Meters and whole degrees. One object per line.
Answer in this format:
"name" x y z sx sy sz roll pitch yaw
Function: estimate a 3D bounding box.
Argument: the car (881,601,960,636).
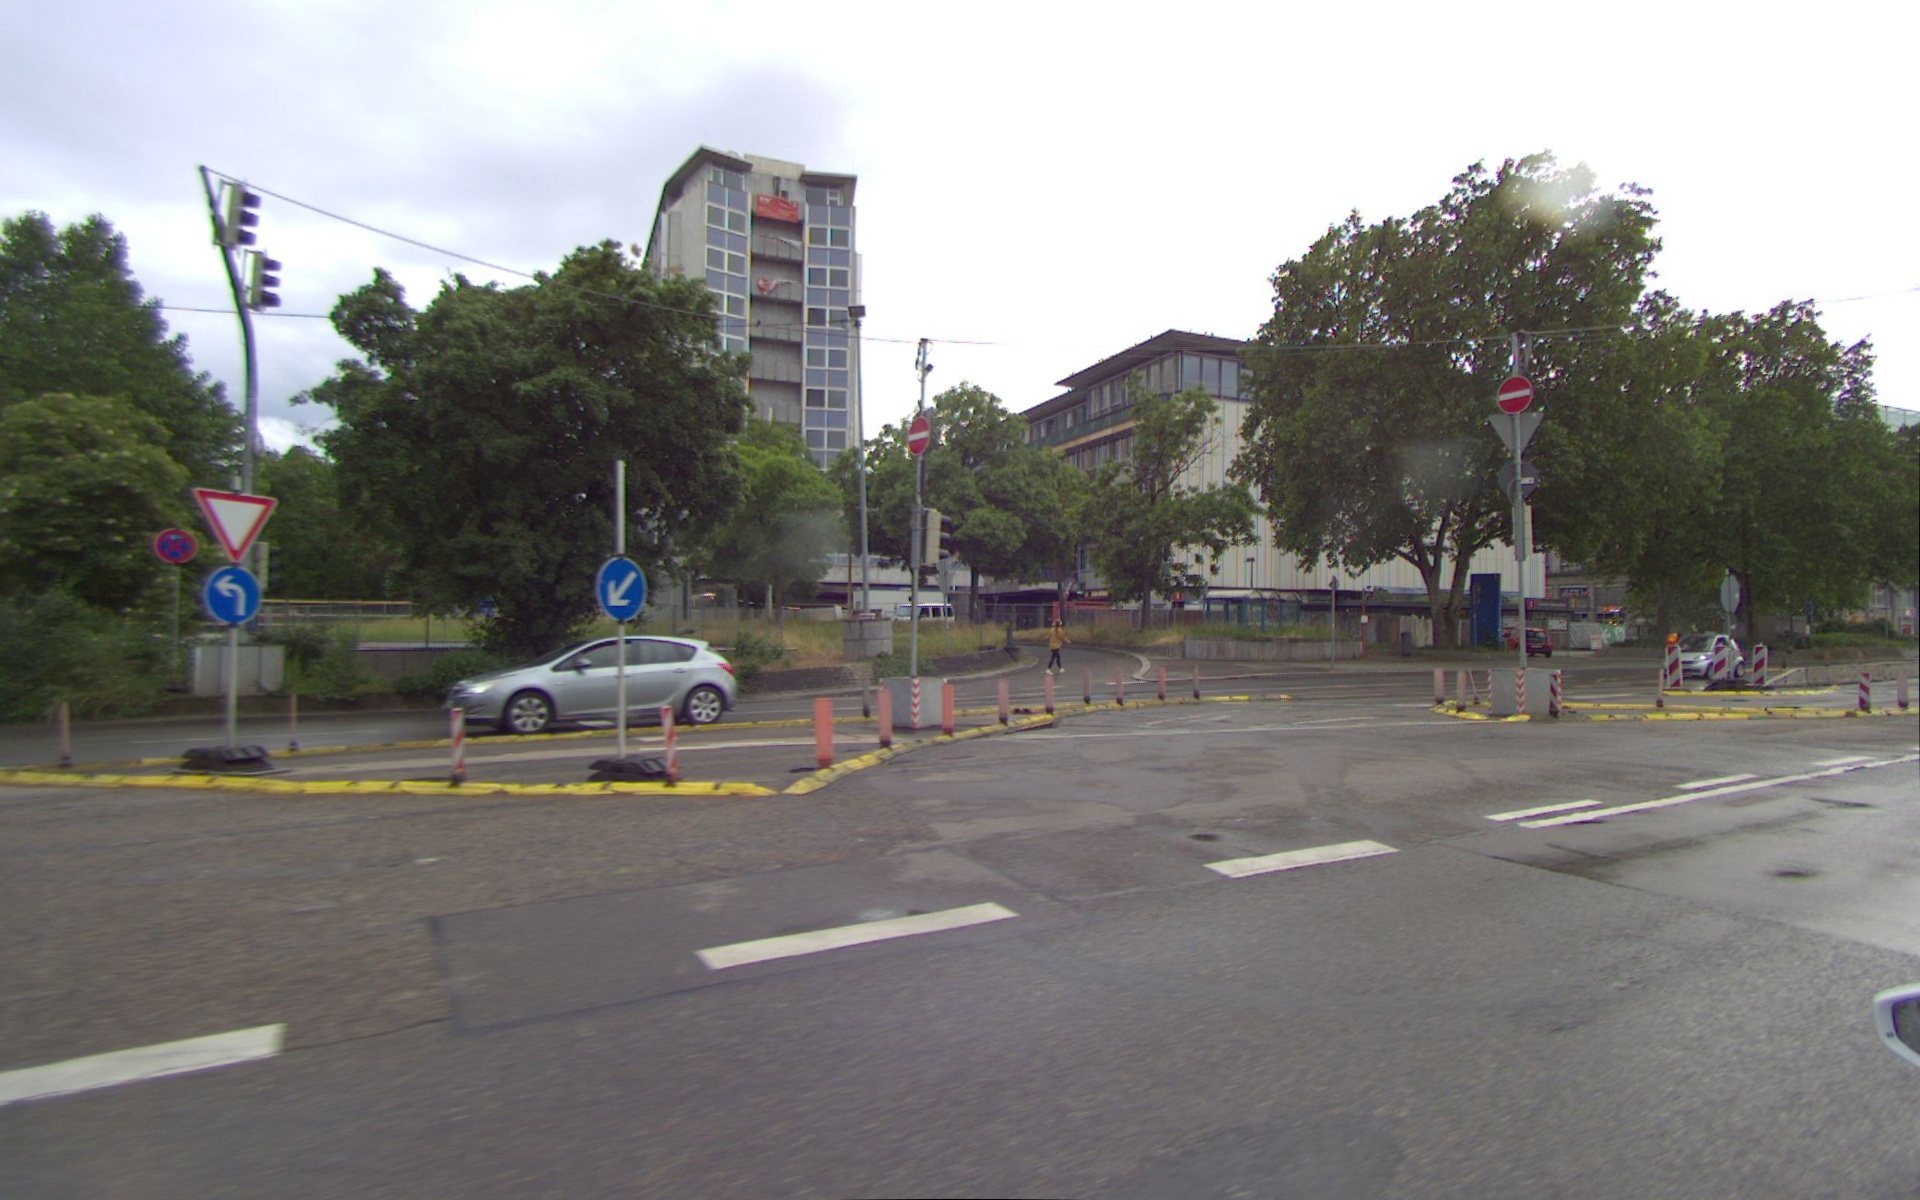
"car" -1.983 0.980 51.466 1.879 1.547 3.989 -2 -5 39

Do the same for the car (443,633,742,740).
"car" -5.729 1.313 15.877 4.138 1.482 1.753 2 -5 -37

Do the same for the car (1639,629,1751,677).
"car" 26.438 1.948 36.103 4.132 1.547 1.892 4 -5 -32

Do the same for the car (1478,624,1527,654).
"car" 31.503 2.281 58.464 1.870 1.547 4.007 0 -4 19

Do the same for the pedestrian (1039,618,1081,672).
"pedestrian" 3.015 1.360 30.262 1.094 1.577 0.588 2 -4 -13

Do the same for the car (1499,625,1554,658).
"car" 29.931 2.211 53.189 1.870 1.547 4.007 0 -4 19
